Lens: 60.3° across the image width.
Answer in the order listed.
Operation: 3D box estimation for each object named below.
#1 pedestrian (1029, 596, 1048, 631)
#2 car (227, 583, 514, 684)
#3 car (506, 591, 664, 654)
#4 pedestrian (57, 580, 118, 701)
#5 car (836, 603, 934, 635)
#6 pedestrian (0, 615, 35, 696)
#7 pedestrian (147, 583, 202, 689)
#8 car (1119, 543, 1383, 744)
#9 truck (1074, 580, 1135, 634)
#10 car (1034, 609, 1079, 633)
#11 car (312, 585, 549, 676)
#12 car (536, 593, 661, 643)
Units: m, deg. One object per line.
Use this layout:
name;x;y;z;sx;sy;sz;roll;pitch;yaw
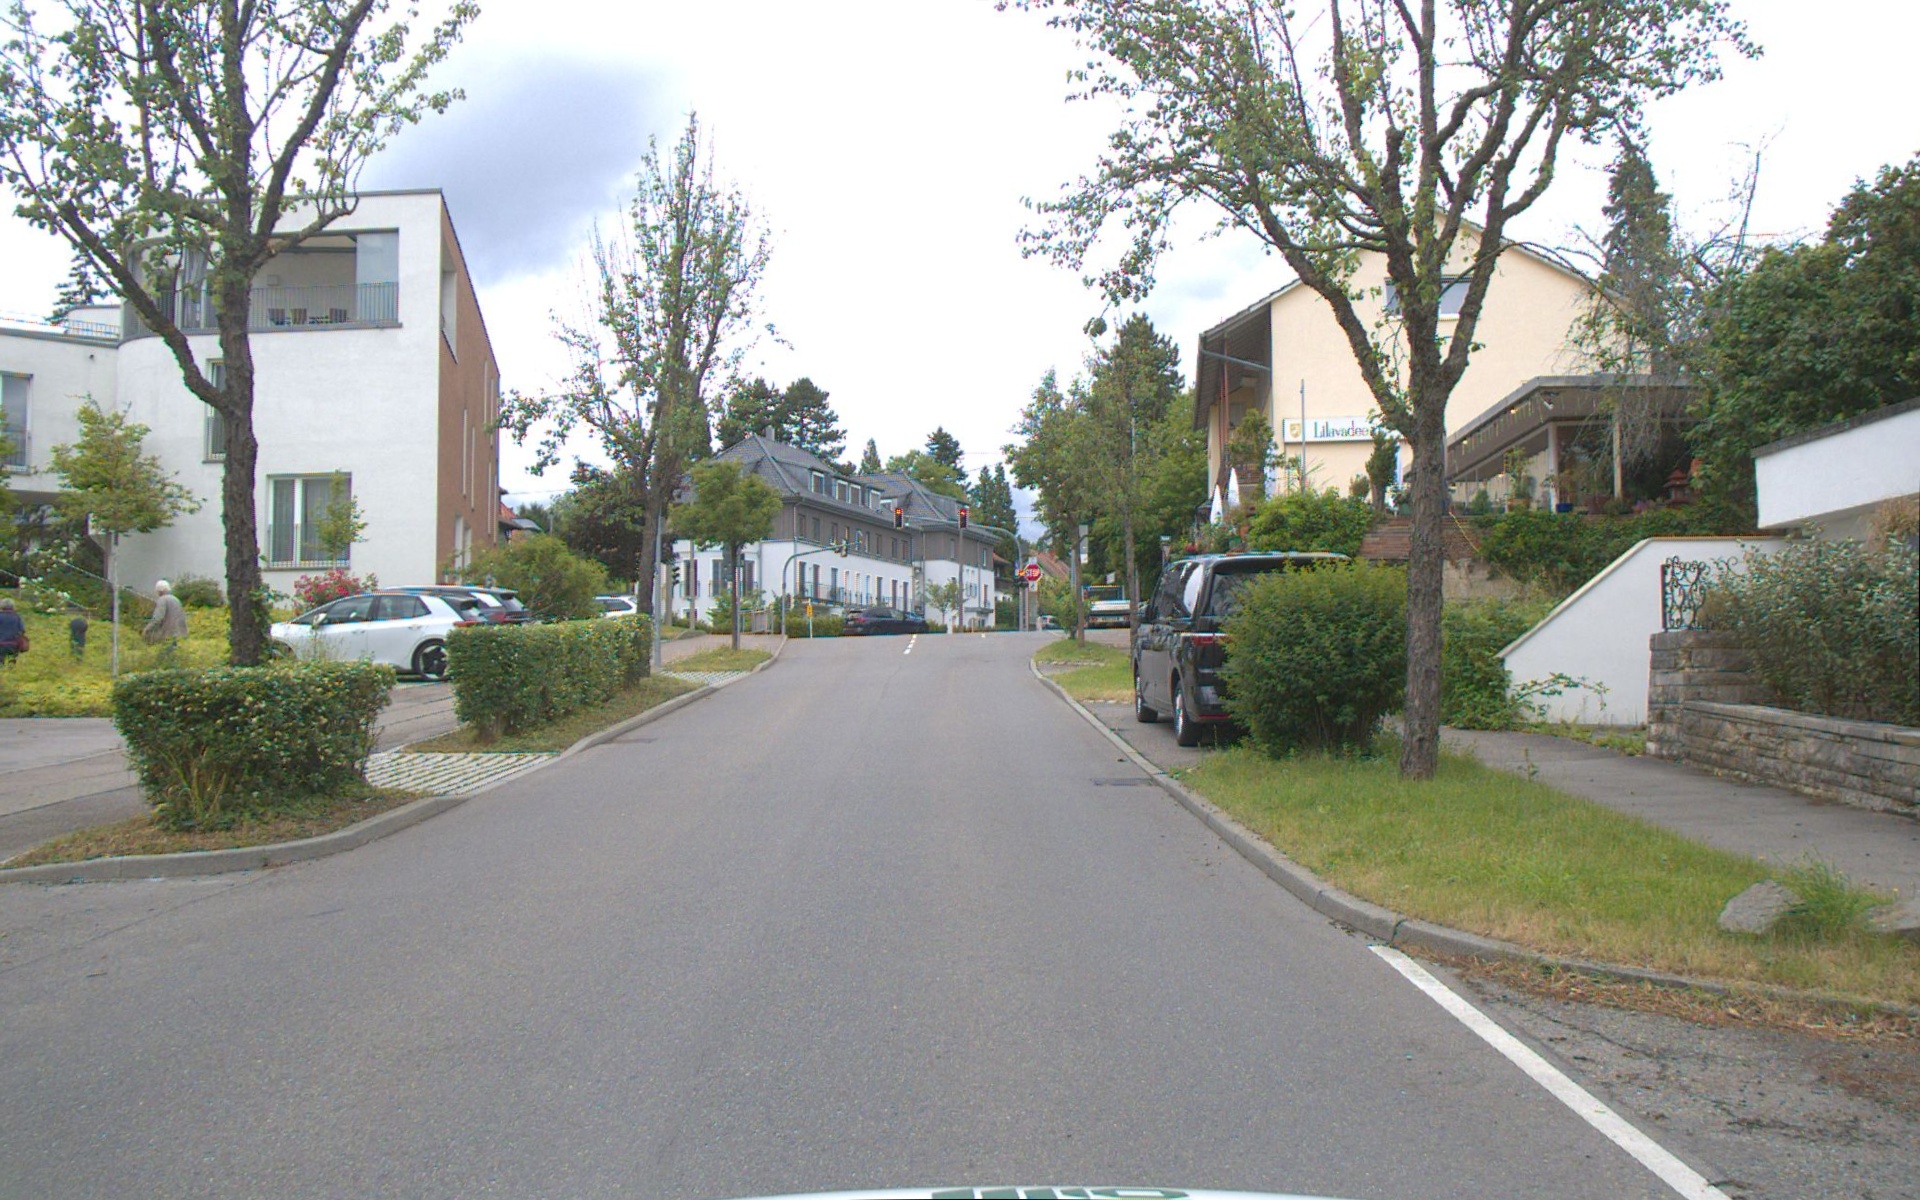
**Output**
pedestrian;3.846;0.646;80.779;0.671;1.711;0.699;-1;0;29
car;-10.302;0.566;29.178;4.299;1.594;2.065;-2;0;-3
car;-10.832;0.665;48.007;4.176;1.651;2.012;-2;-1;-4
pedestrian;-12.506;0.574;23.725;0.577;1.711;0.519;-1;0;0
car;-3.771;0.943;83.393;4.668;1.517;2.130;-1;0;-40
pedestrian;-15.730;0.900;27.126;0.594;1.305;0.899;1;0;-1
pedestrian;-12.681;0.576;26.706;0.581;1.669;0.565;-2;0;0
car;3.003;0.402;18.227;1.897;1.870;5.218;-1;0;-1
truck;6.657;0.386;76.985;2.139;2.234;5.878;-1;-3;-2
car;5.681;1.206;97.112;1.951;1.310;4.003;1;0;13
car;-10.116;0.559;31.825;3.905;1.682;2.008;0;0;0
car;-11.355;0.557;52.140;3.688;1.490;1.729;-1;0;-7
